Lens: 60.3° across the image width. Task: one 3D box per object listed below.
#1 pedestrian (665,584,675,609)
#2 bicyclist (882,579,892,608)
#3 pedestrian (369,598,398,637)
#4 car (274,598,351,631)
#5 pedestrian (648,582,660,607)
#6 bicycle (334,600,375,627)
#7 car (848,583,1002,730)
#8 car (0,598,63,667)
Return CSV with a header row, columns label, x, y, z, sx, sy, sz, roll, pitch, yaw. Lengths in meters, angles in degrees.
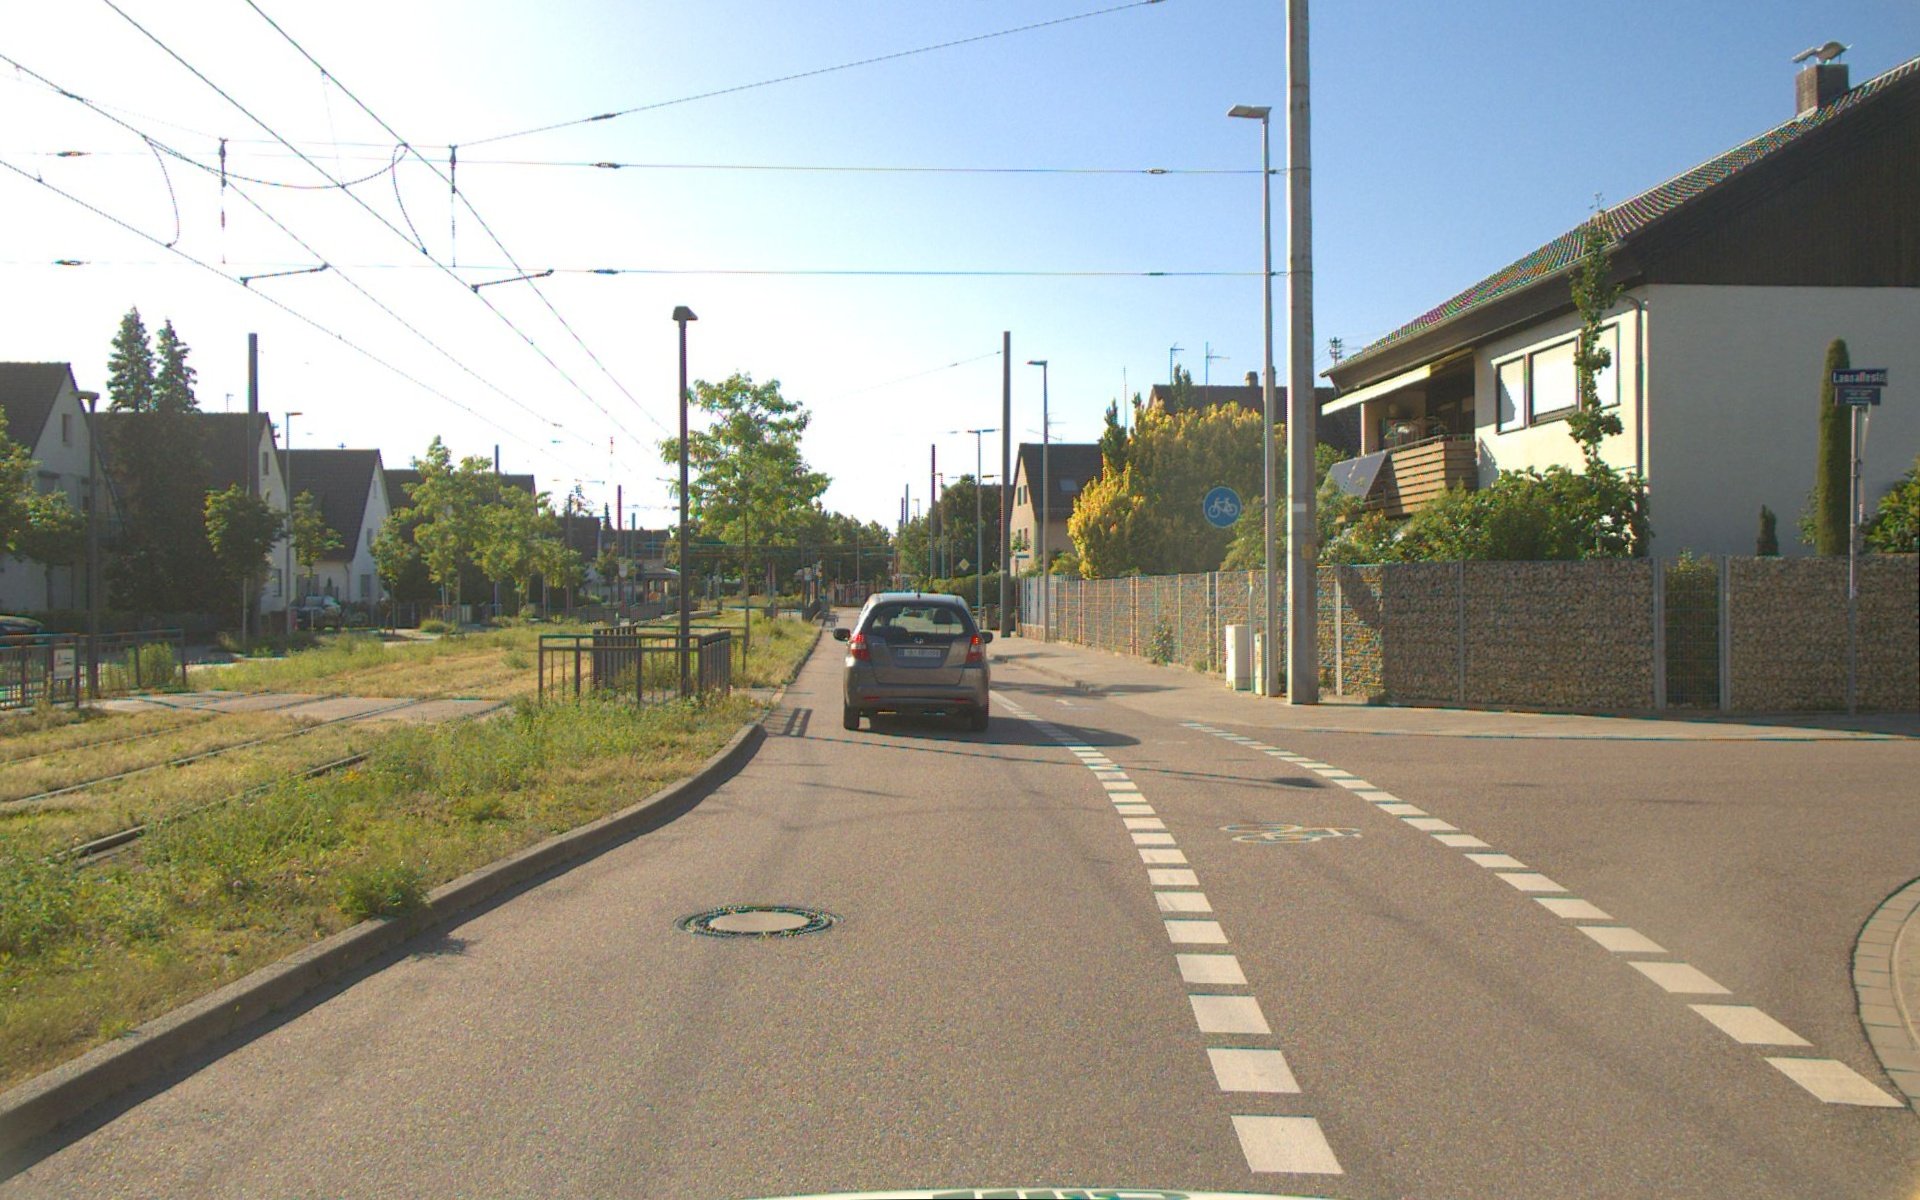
label,x,y,z,sx,sy,sz,roll,pitch,yaw
pedestrian,-20.171,-0.264,114.999,0.490,1.726,0.770,-2,0,-4
bicyclist,-4.528,-0.393,102.202,0.586,1.731,0.683,1,-1,-4
pedestrian,-24.966,0.745,71.612,0.946,1.669,1.084,0,0,-5
car,-30.058,0.658,76.937,1.896,1.475,5.158,0,0,-4
pedestrian,-19.282,-0.371,104.211,0.662,1.562,0.747,0,0,-9
bicycle,-32.327,0.715,88.351,1.953,1.389,0.703,0,0,-11
car,-0.427,0.608,19.550,1.637,1.562,3.486,1,0,-2
car,-26.043,0.848,42.938,4.467,1.765,2.044,-1,0,-16
